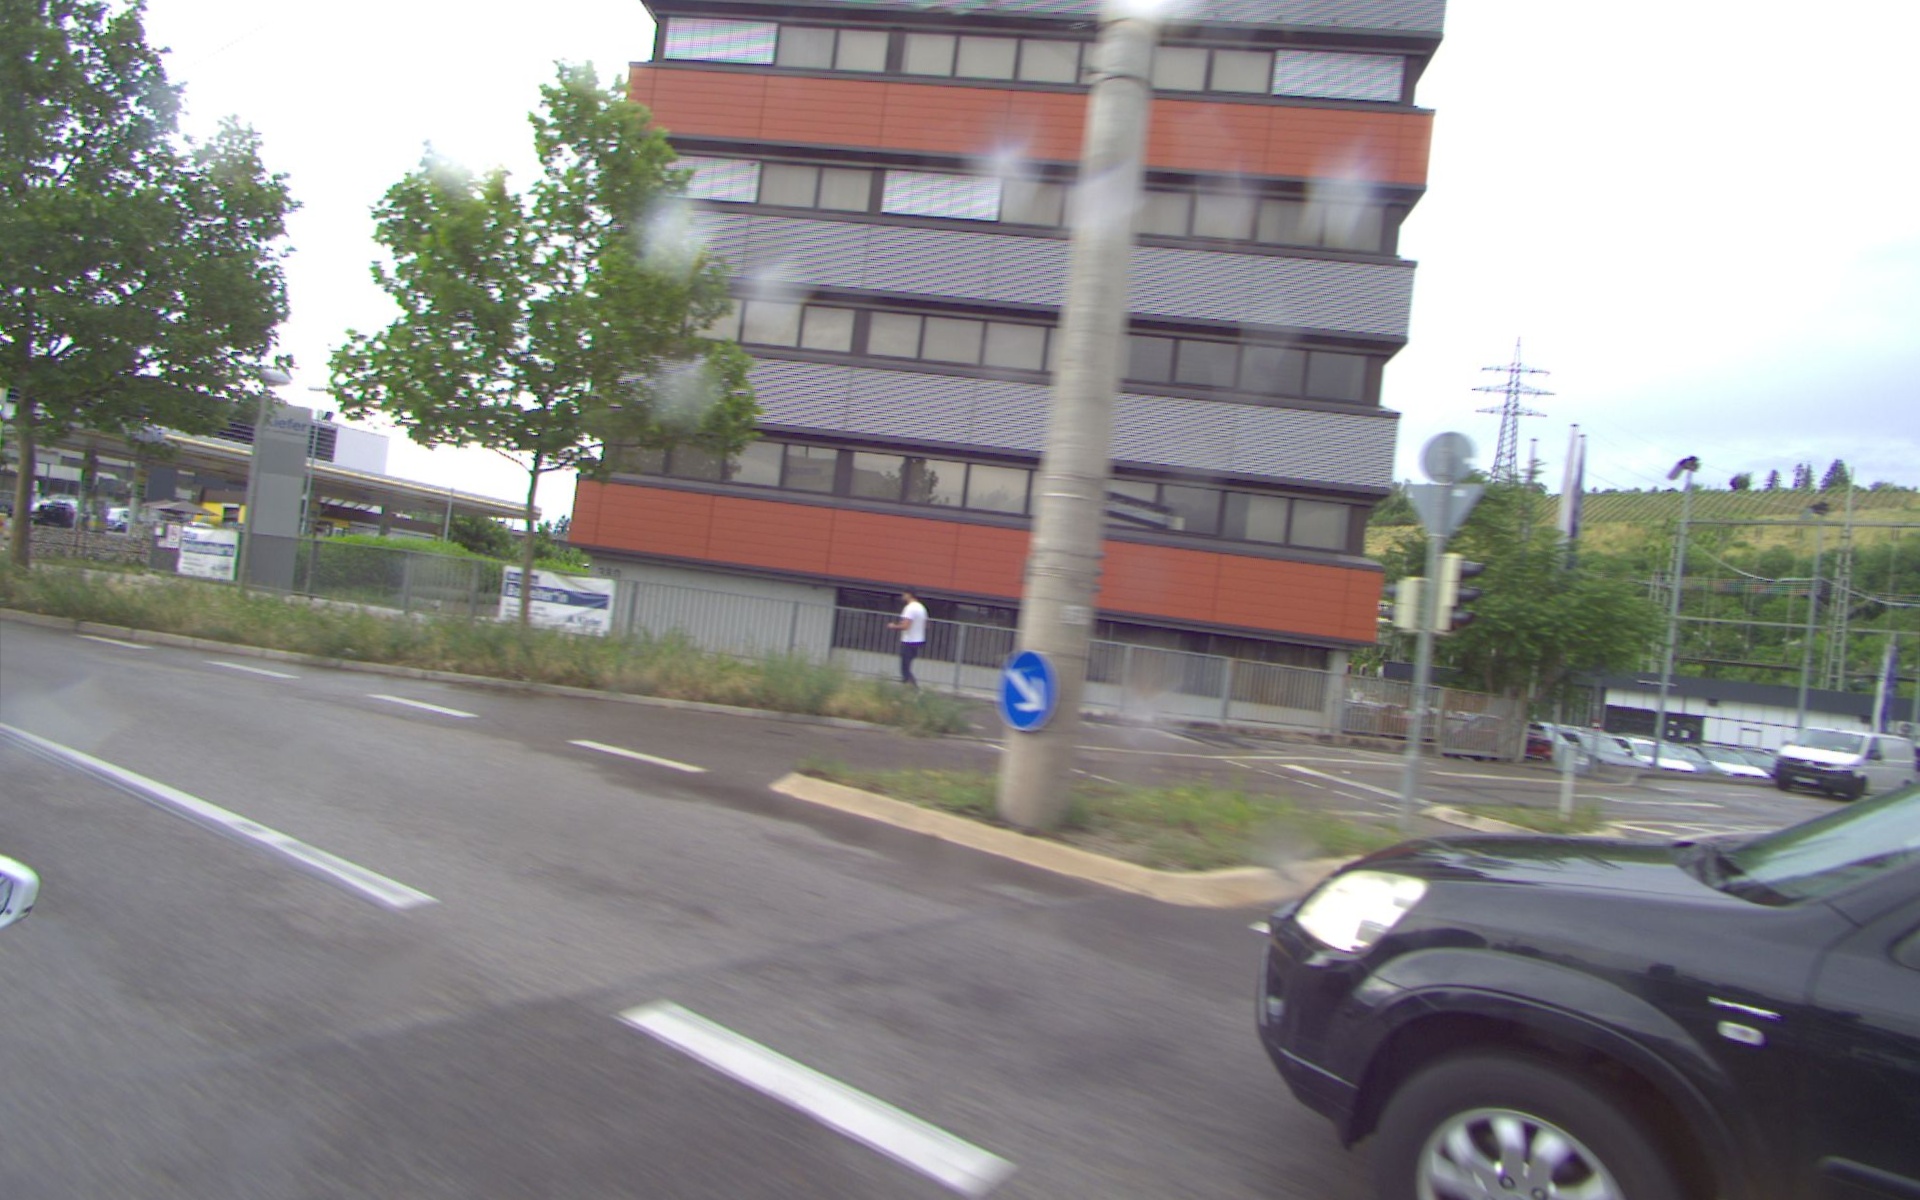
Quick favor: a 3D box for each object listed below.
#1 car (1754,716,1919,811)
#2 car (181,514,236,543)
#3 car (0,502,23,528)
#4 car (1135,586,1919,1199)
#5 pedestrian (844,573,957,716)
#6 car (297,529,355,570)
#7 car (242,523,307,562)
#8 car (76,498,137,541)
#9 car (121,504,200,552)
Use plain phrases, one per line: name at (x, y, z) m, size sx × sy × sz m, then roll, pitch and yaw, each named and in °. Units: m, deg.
car at (25.267, 4.691, 28.787) m, size 5.028 × 1.939 × 1.984 m, roll 10°, pitch 2°, yaw -29°
car at (-54.763, -5.230, 73.284) m, size 3.936 × 1.615 × 1.995 m, roll 7°, pitch -1°, yaw 35°
car at (-68.071, -6.110, 71.071) m, size 3.937 × 1.610 × 1.793 m, roll 7°, pitch -1°, yaw 35°
car at (2.808, 1.091, 2.276) m, size 4.259 × 1.647 × 1.768 m, roll 7°, pitch -4°, yaw 37°
pedestrian at (-0.988, 0.733, 16.663) m, size 1.138 × 2.152 × 1.209 m, roll 7°, pitch 1°, yaw -38°
car at (-38.046, -3.022, 60.351) m, size 3.088 × 2.035 × 1.678 m, roll 6°, pitch -4°, yaw 35°
car at (-44.783, -3.758, 65.721) m, size 3.711 × 2.035 × 1.876 m, roll 6°, pitch -4°, yaw 31°
car at (-49.050, -4.643, 57.818) m, size 3.488 × 2.035 × 1.682 m, roll 6°, pitch -4°, yaw 36°
car at (-41.798, -3.756, 52.583) m, size 3.936 × 2.056 × 1.995 m, roll 6°, pitch -1°, yaw 34°
